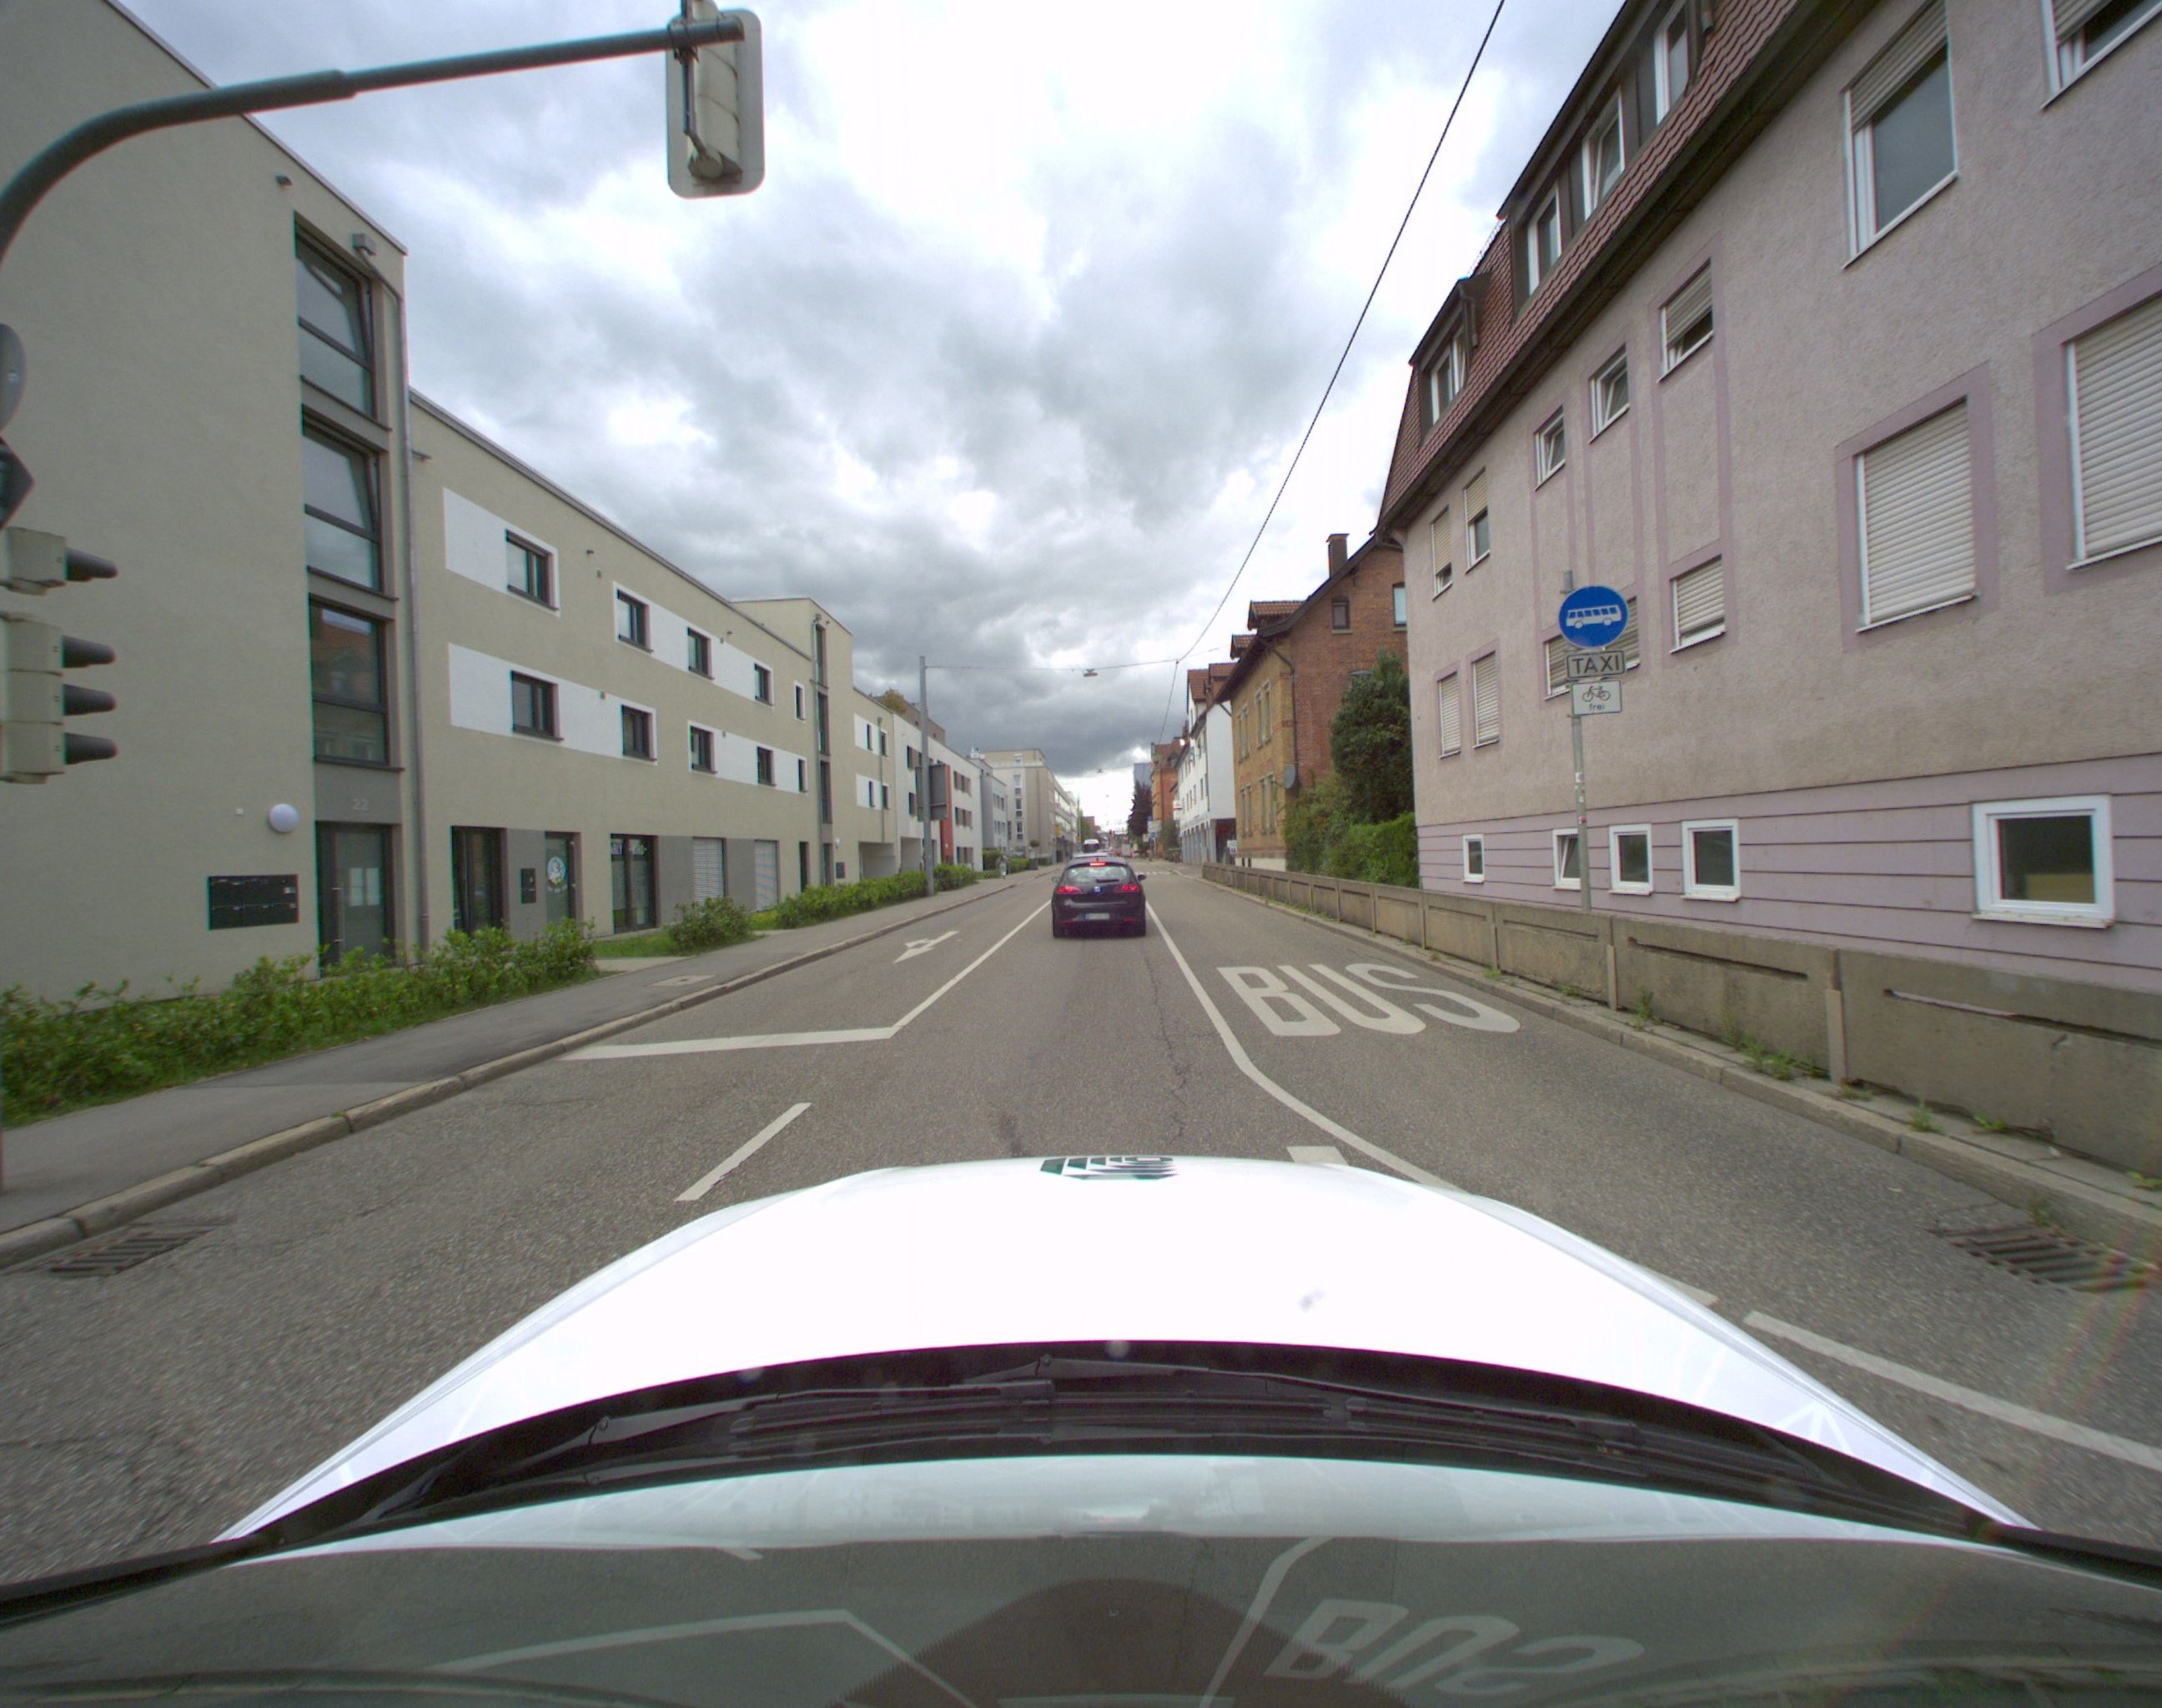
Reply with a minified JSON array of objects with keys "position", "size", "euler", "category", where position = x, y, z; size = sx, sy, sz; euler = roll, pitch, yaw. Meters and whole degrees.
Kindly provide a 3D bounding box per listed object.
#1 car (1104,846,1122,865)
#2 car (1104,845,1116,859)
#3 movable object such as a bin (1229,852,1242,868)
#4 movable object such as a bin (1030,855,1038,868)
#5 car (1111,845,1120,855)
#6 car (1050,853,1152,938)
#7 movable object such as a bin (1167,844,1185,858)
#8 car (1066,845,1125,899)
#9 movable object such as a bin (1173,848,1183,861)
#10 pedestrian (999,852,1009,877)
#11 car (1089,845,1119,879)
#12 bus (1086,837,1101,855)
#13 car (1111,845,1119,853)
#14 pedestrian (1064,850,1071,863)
[{"position":[2.892,0.116,73.613],"size":[1.525,1.693,3.695],"euler":[-1,0,2],"category":"car"},{"position":[3.876,-0.249,107.276],"size":[1.525,1.693,3.695],"euler":[-1,0,2],"category":"car"},{"position":[8.265,0.293,43.534],"size":[0.590,0.840,0.458],"euler":[-1,0,2],"category":"movable object such as a bin"},{"position":[-4.022,0.663,69.740],"size":[0.547,1.078,0.612],"euler":[-1,0,3],"category":"movable object such as a bin"},{"position":[6.250,-0.788,148.641],"size":[1.526,1.693,3.695],"euler":[-3,0,2],"category":"car"},{"position":[0.436,0.730,16.227],"size":[1.752,1.442,4.002],"euler":[-1,0,2],"category":"car"},{"position":[10.014,-0.270,86.061],"size":[1.810,1.437,1.994],"euler":[-1,0,3],"category":"movable object such as a bin"},{"position":[0.516,0.570,27.842],"size":[1.835,1.693,4.002],"euler":[-1,0,2],"category":"car"},{"position":[9.793,0.031,81.951],"size":[0.924,1.283,0.883],"euler":[-1,0,3],"category":"movable object such as a bin"},{"position":[-4.731,0.631,50.177],"size":[0.524,1.548,0.541],"euler":[-1,0,2],"category":"pedestrian"},{"position":[1.241,0.390,43.361],"size":[1.525,1.693,3.695],"euler":[-1,0,2],"category":"car"},{"position":[2.159,-1.263,135.324],"size":[2.201,2.886,8.925],"euler":[-1,0,2],"category":"bus"},{"position":[7.322,-1.077,175.298],"size":[1.526,1.693,3.695],"euler":[-3,0,2],"category":"car"},{"position":[-1.773,0.339,107.302],"size":[0.728,1.729,0.860],"euler":[-1,0,1],"category":"pedestrian"}]
